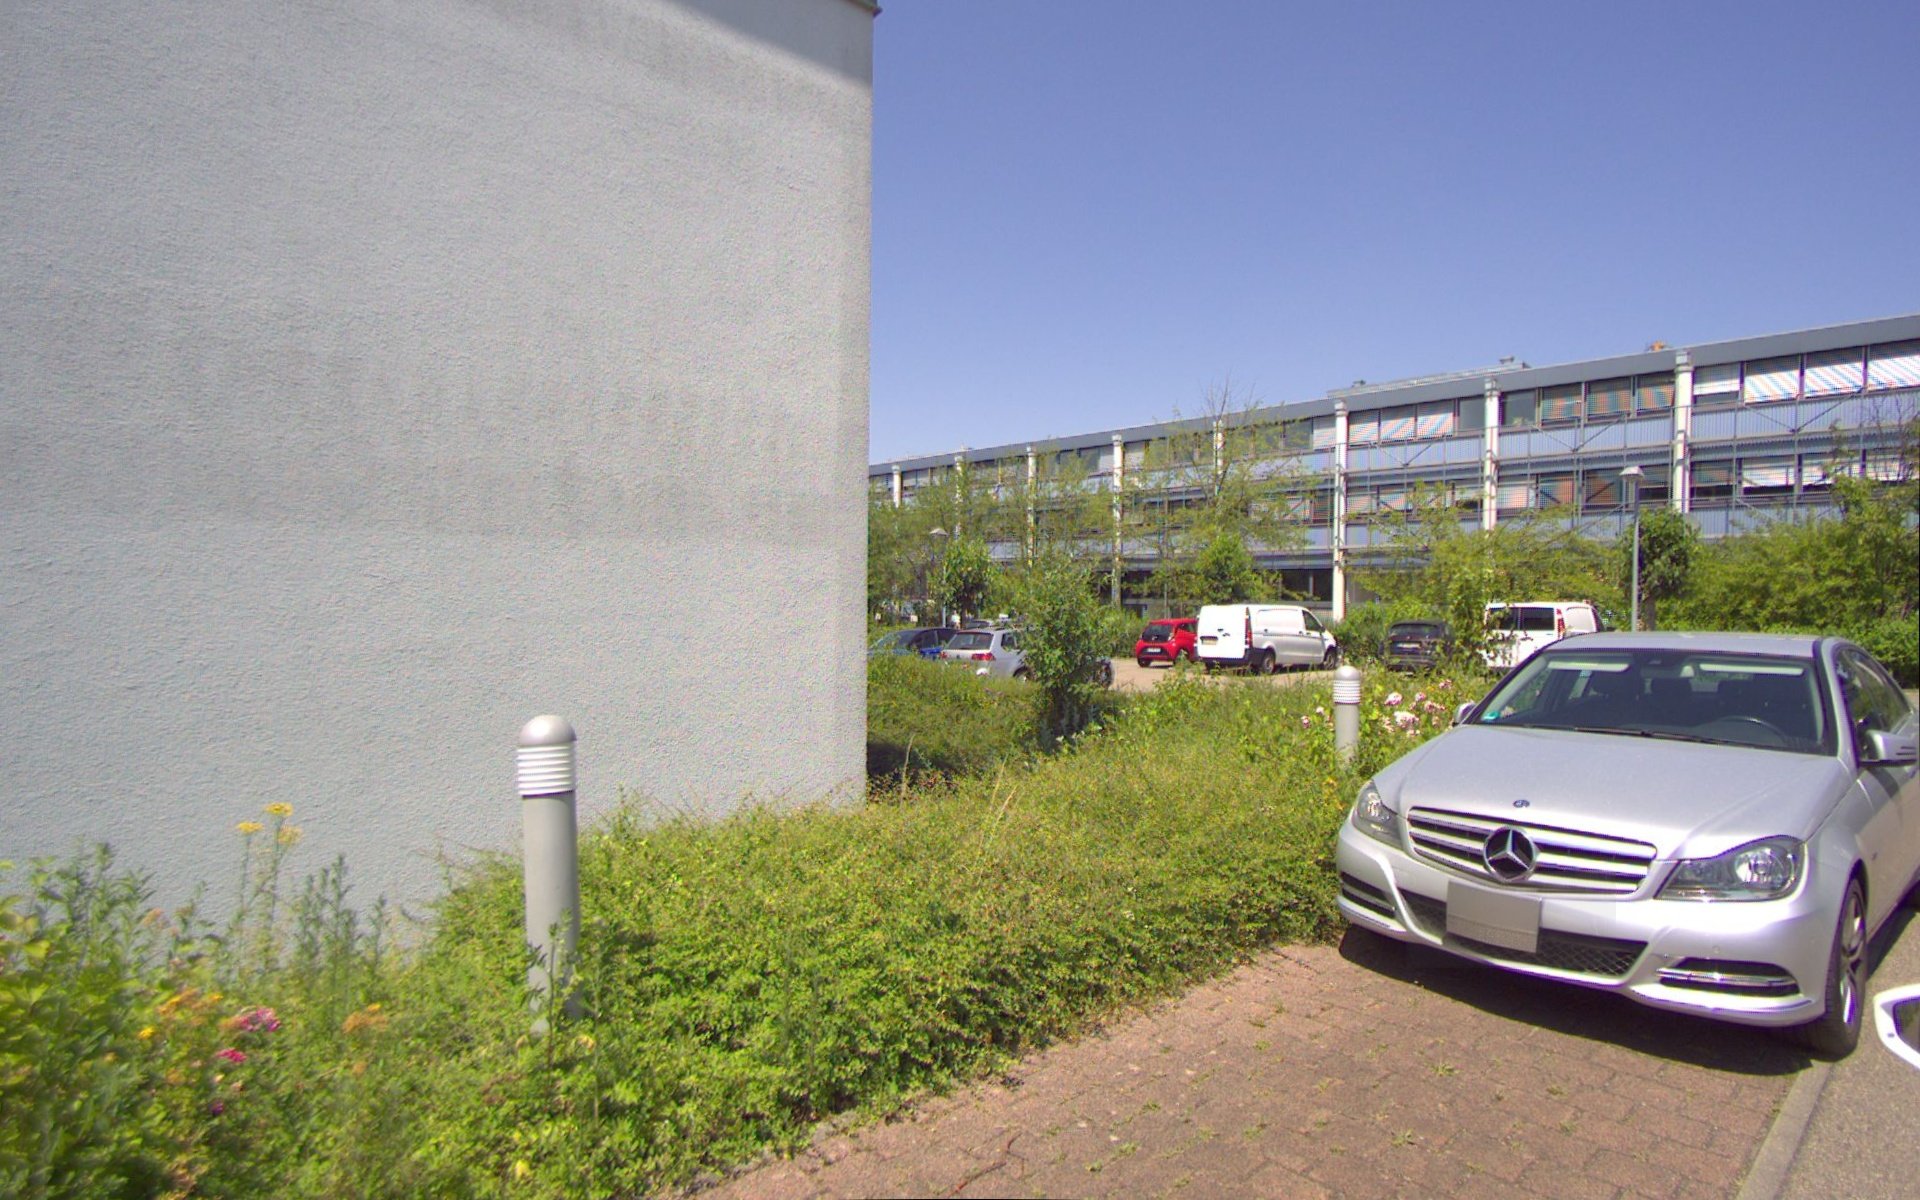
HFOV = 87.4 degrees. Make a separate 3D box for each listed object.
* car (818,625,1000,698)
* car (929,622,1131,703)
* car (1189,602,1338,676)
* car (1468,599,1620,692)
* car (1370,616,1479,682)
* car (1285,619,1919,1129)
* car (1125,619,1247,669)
[{"bbox_3d":[-1.153,1.396,23.916,3.968,1.481,1.976,-1,0,-41],"label":"car"},{"bbox_3d":[1.578,1.246,21.462,4.453,1.492,1.839,1,-1,-44],"label":"car"},{"bbox_3d":[8.664,1.020,28.438,4.767,1.916,1.864,0,0,-42],"label":"car"},{"bbox_3d":[13.589,0.961,23.243,1.894,1.930,4.776,-1,-1,45],"label":"car"},{"bbox_3d":[11.903,1.186,25.618,1.732,1.496,3.984,-1,0,37],"label":"car"},{"bbox_3d":[3.474,0.845,4.929,4.115,1.476,1.714,1,-2,-41],"label":"car"},{"bbox_3d":[7.131,1.335,31.485,3.969,1.460,1.767,1,-1,-41],"label":"car"}]
